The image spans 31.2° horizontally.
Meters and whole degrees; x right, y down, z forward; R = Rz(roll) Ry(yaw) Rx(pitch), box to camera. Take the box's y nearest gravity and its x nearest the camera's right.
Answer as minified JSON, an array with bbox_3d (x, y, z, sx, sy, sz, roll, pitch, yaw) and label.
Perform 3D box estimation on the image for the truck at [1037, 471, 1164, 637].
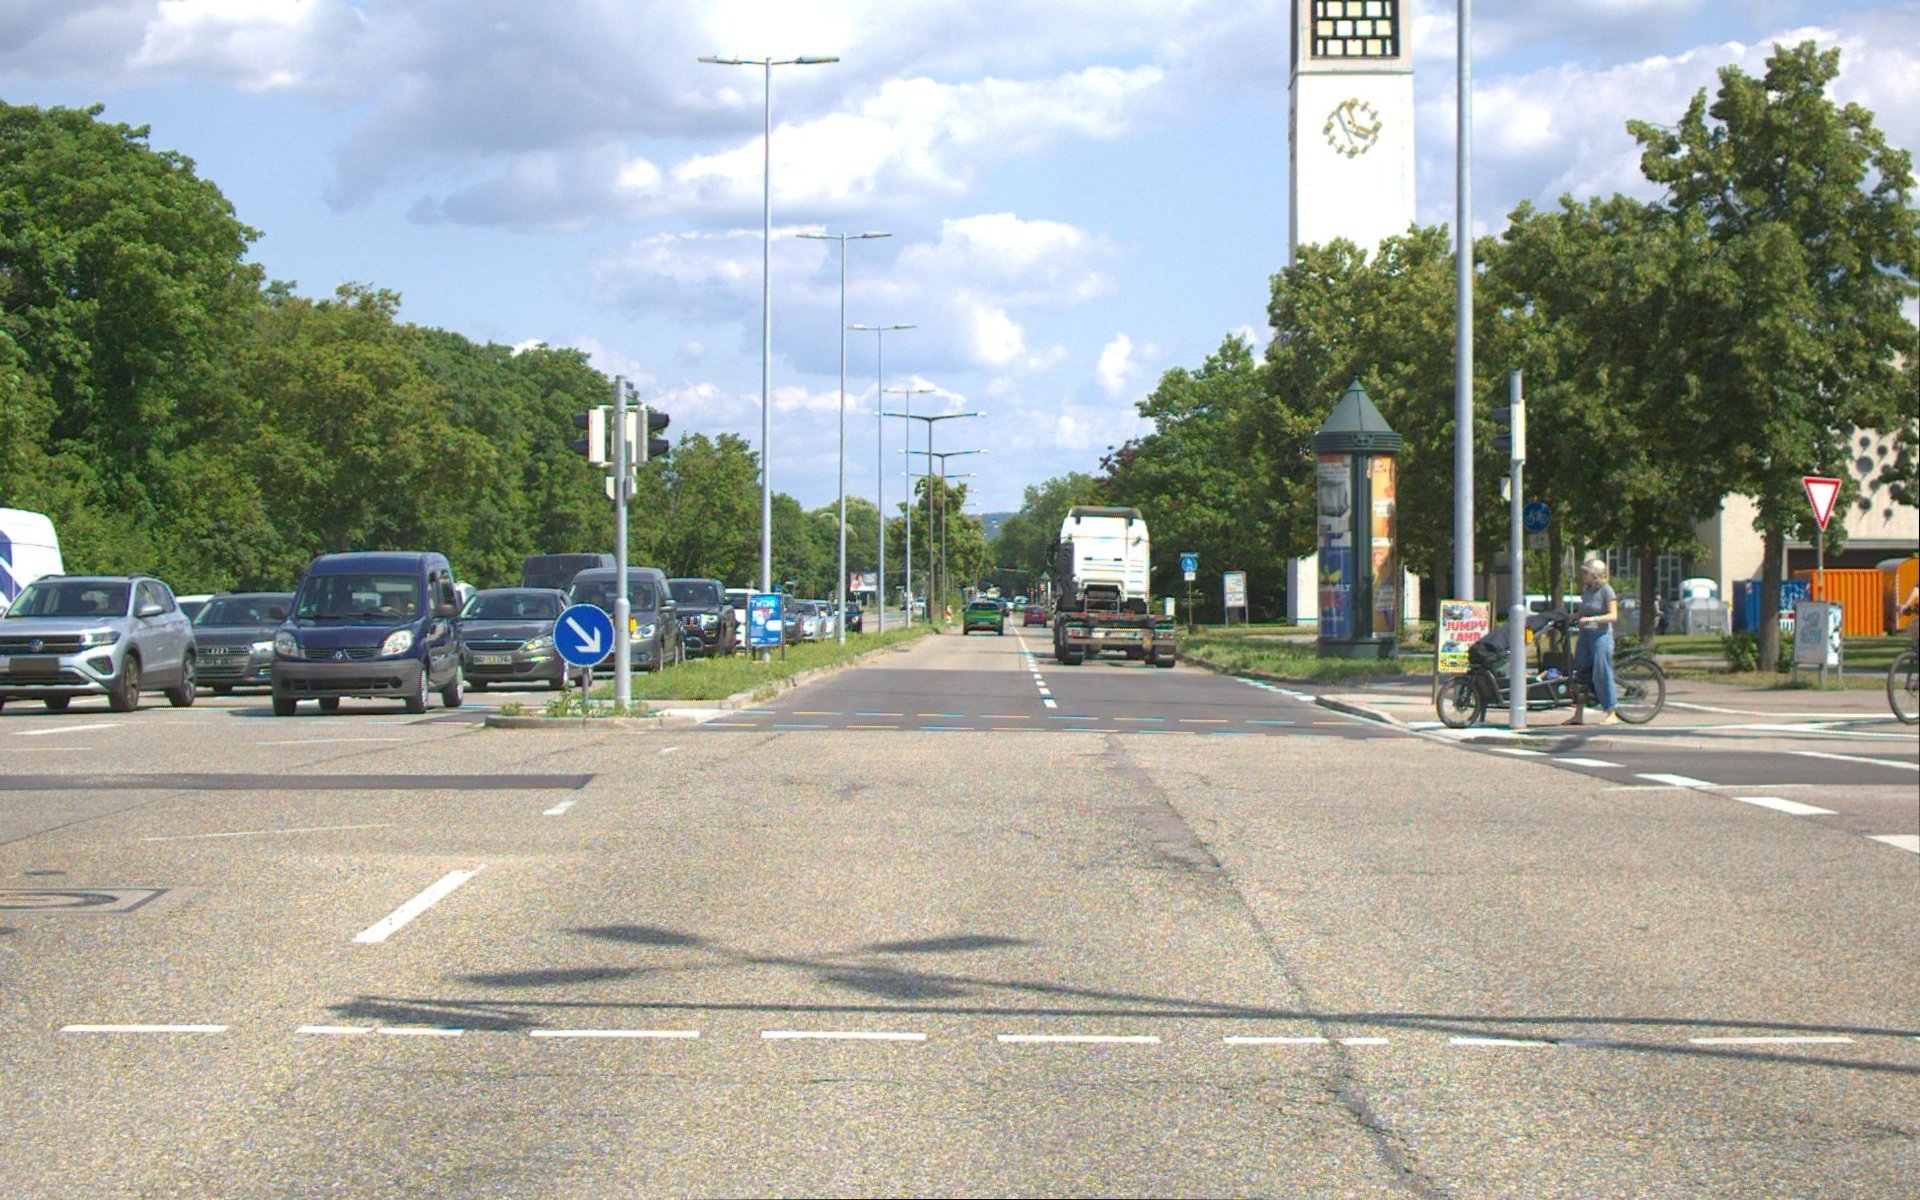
[{"bbox_3d":[3.624,-1.064,86.837,2.960,3.957,8.636,1,0,4],"label":"truck"}]

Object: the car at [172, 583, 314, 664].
[{"bbox_3d":[-12.400,0.390,59.642,1.763,1.347,3.519,0,0,-1],"label":"car"}]

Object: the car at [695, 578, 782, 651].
[{"bbox_3d":[-5.276,0.336,82.366,1.734,1.654,4.231,2,0,0],"label":"car"}]

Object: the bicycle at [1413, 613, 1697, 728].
[{"bbox_3d":[5.999,0.698,34.621,2.832,1.108,0.797,0,1,-24],"label":"bicycle"}]

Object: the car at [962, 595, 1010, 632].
[{"bbox_3d":[1.150,0.595,152.124,1.993,1.547,4.000,2,0,-1],"label":"car"}]

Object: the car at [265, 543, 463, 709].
[{"bbox_3d":[-6.473,0.266,37.696,1.734,1.654,4.232,2,0,-5],"label":"car"}]

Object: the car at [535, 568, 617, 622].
[{"bbox_3d":[-9.112,-0.119,81.729,1.548,1.213,3.490,2,0,-1],"label":"car"}]

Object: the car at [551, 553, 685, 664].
[{"bbox_3d":[-5.553,0.107,56.203,1.734,1.654,4.231,2,1,0],"label":"car"}]

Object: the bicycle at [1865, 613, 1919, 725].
[{"bbox_3d":[9.969,0.676,34.599,1.998,1.090,0.685,0,0,-43],"label":"bicycle"}]

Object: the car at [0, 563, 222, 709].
[{"bbox_3d":[-9.962,0.384,39.494,1.735,1.538,4.308,2,0,4],"label":"car"}]

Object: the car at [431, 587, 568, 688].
[{"bbox_3d":[-6.420,0.512,48.231,1.568,1.311,3.432,2,0,-3],"label":"car"}]

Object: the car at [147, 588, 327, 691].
[{"bbox_3d":[-9.884,0.523,47.236,1.763,1.347,3.519,0,0,-1],"label":"car"}]

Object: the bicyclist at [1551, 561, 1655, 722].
[{"bbox_3d":[6.512,0.412,34.837,0.698,1.610,0.797,0,1,-24],"label":"bicyclist"}]

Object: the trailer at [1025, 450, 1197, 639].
[{"bbox_3d":[3.576,-1.141,78.939,3.621,3.998,11.317,1,0,4],"label":"trailer"}]

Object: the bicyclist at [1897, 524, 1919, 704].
[{"bbox_3d":[9.943,0.138,34.564,0.787,1.798,0.685,1,0,-43],"label":"bicyclist"}]

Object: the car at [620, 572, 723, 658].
[{"bbox_3d":[-5.895,0.307,70.657,1.734,1.654,4.231,2,0,-1],"label":"car"}]

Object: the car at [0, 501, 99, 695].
[{"bbox_3d":[-13.167,-0.059,44.409,2.174,2.463,5.966,2,0,4],"label":"car"}]

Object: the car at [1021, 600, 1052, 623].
[{"bbox_3d":[5.445,0.806,245.364,1.993,1.547,4.000,2,0,-1],"label":"car"}]
